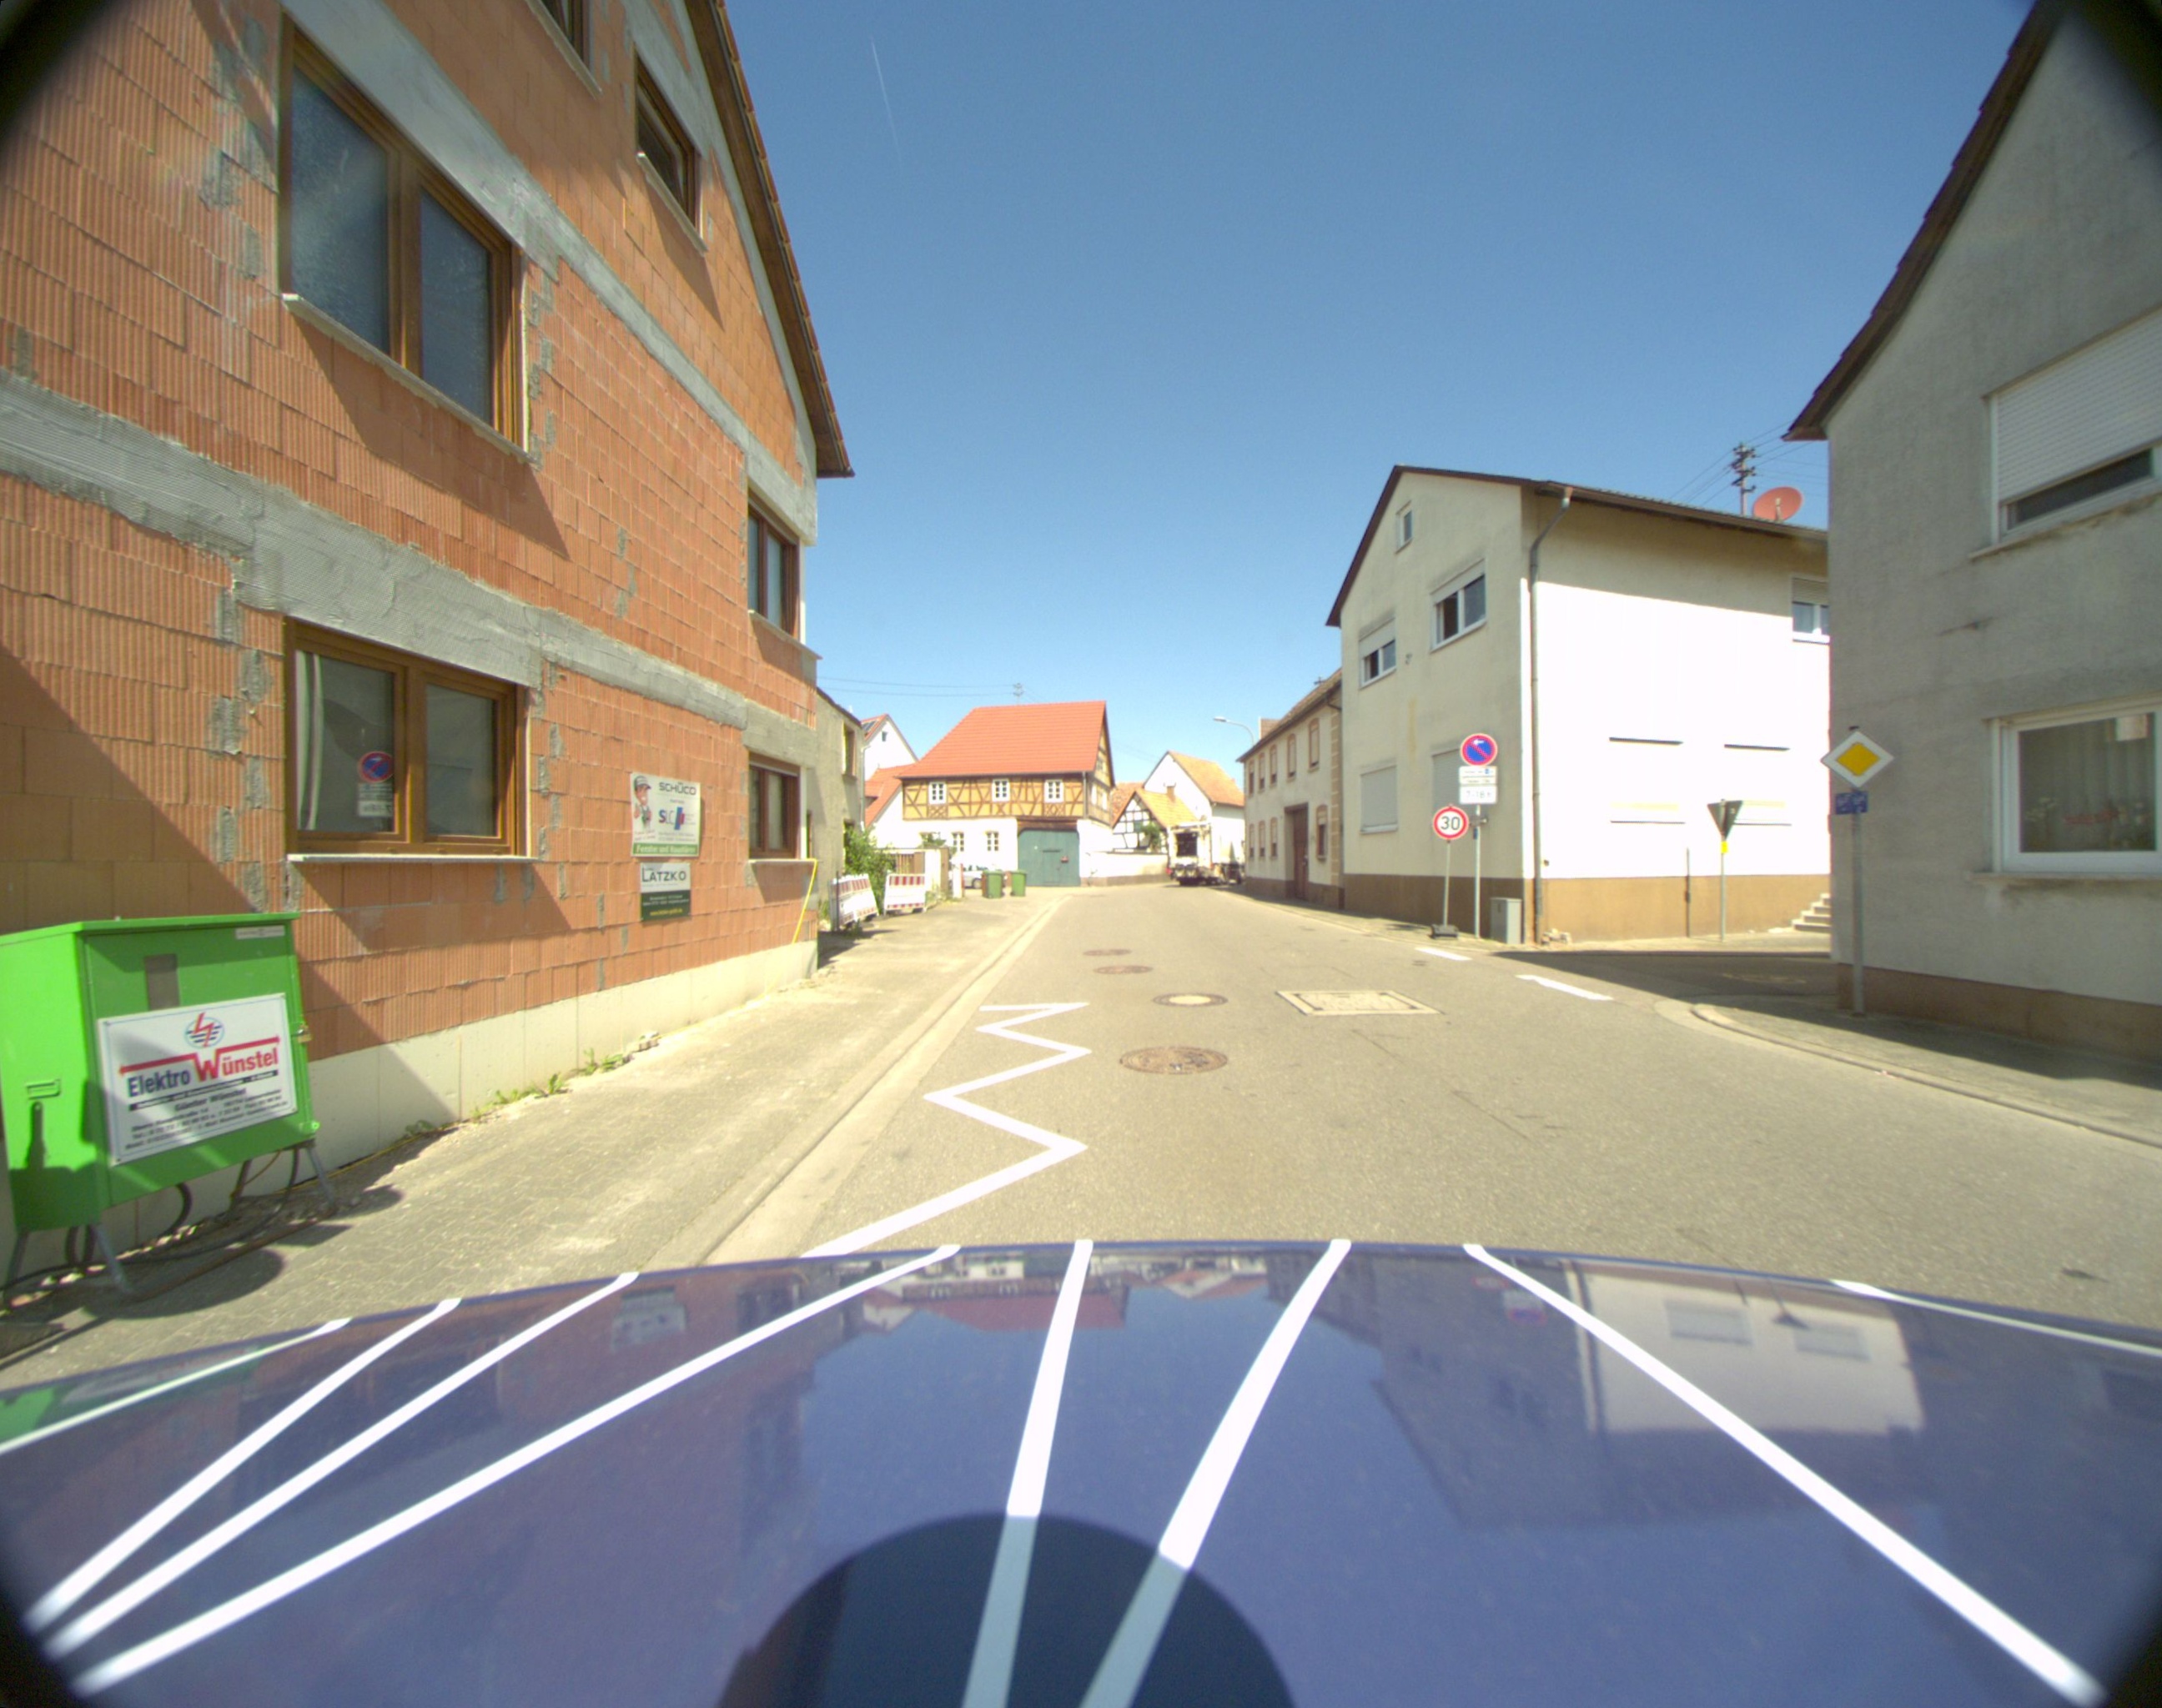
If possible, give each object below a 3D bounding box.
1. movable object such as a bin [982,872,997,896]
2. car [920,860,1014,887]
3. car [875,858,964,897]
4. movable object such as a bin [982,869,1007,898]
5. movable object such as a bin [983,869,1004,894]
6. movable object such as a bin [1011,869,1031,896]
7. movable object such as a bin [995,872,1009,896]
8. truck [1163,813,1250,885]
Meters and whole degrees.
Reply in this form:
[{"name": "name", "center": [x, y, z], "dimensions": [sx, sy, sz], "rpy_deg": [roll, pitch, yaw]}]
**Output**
[{"name": "movable object such as a bin", "center": [-3.678, 1.209, 30.517], "dimensions": [0.465, 0.965, 0.496], "rpy_deg": [-1, 0, 9]}, {"name": "car", "center": [-6.335, 1.046, 42.431], "dimensions": [4.759, 1.443, 2.002], "rpy_deg": [0, 0, 13]}, {"name": "car", "center": [-6.683, 0.929, 31.983], "dimensions": [1.813, 1.519, 4.302], "rpy_deg": [0, 0, 17]}, {"name": "movable object such as a bin", "center": [-3.337, 1.134, 29.245], "dimensions": [0.763, 1.066, 0.671], "rpy_deg": [-1, 0, -31]}, {"name": "movable object such as a bin", "center": [-3.868, 1.200, 33.624], "dimensions": [0.721, 1.075, 0.755], "rpy_deg": [-1, 0, 6]}, {"name": "movable object such as a bin", "center": [-2.485, 1.185, 31.372], "dimensions": [0.688, 1.085, 0.638], "rpy_deg": [-1, 0, 10]}, {"name": "movable object such as a bin", "center": [-3.182, 1.201, 30.548], "dimensions": [0.445, 0.944, 0.463], "rpy_deg": [-1, 1, 10]}, {"name": "truck", "center": [7.659, -0.257, 44.826], "dimensions": [2.698, 3.728, 10.886], "rpy_deg": [0, 0, 22]}]
